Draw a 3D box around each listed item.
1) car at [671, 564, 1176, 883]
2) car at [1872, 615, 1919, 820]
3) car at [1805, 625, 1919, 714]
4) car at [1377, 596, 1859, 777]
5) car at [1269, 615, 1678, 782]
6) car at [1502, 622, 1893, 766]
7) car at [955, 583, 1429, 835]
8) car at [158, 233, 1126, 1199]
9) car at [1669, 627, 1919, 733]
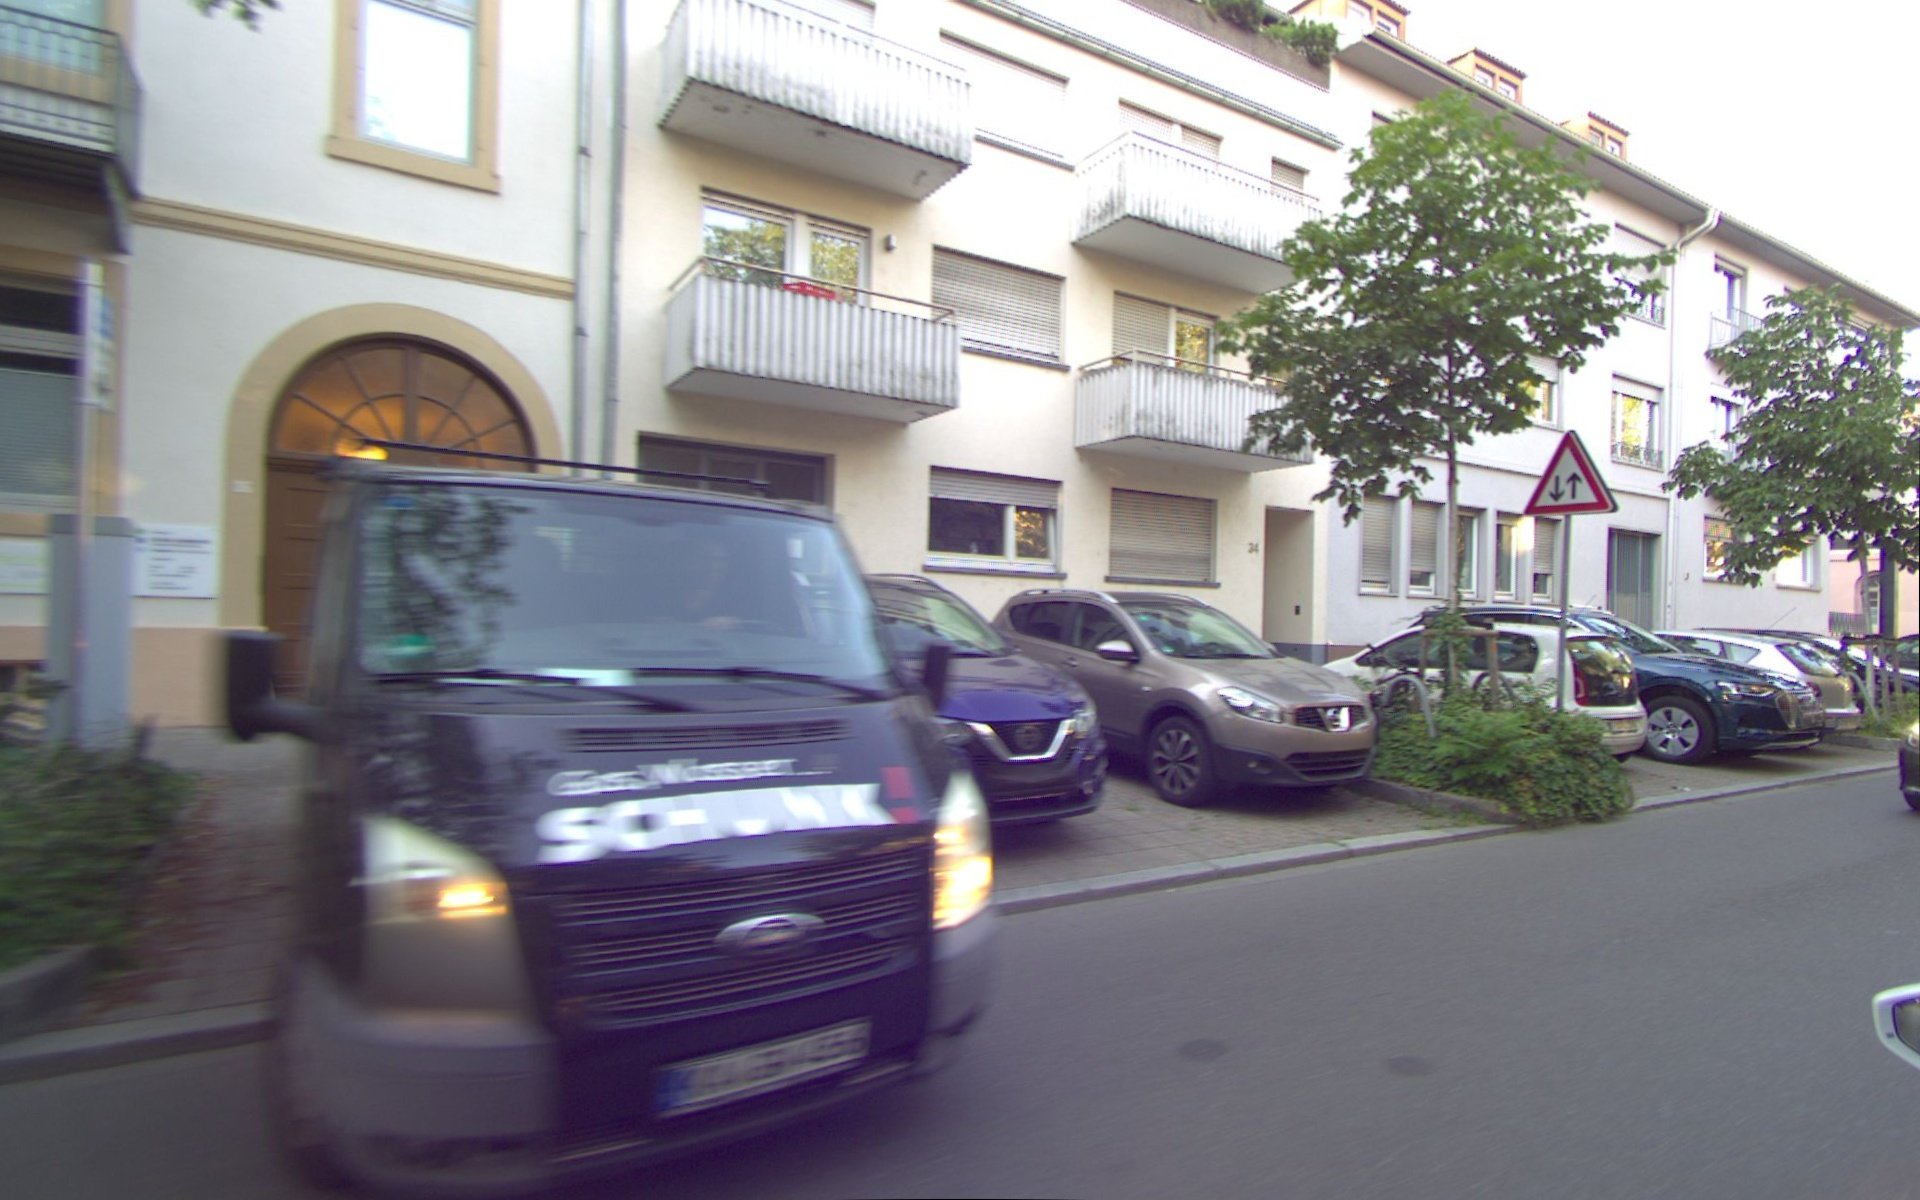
[{"bbox_3d":[-0.625,0.598,7.519,1.908,1.594,4.332,2,1,-31],"label":"car"},{"bbox_3d":[10.038,1.005,8.845,4.596,1.662,1.866,2,-2,-33],"label":"car"},{"bbox_3d":[19.499,1.404,19.707,1.913,1.653,4.074,2,0,-30],"label":"car"},{"bbox_3d":[8.021,0.907,12.764,2.132,1.789,4.641,2,0,-31],"label":"car"},{"bbox_3d":[5.685,0.968,11.591,1.833,1.470,3.826,1,1,-31],"label":"car"},{"bbox_3d":[10.034,1.168,14.026,1.758,1.514,4.013,2,1,-27],"label":"car"},{"bbox_3d":[1.793,0.747,9.134,1.803,1.612,4.133,2,1,-31],"label":"car"},{"bbox_3d":[-1.730,0.407,4.438,2.165,2.017,4.964,1,-1,-31],"label":"car"},{"bbox_3d":[14.777,1.300,17.110,1.734,1.459,4.056,2,1,-30],"label":"car"}]
